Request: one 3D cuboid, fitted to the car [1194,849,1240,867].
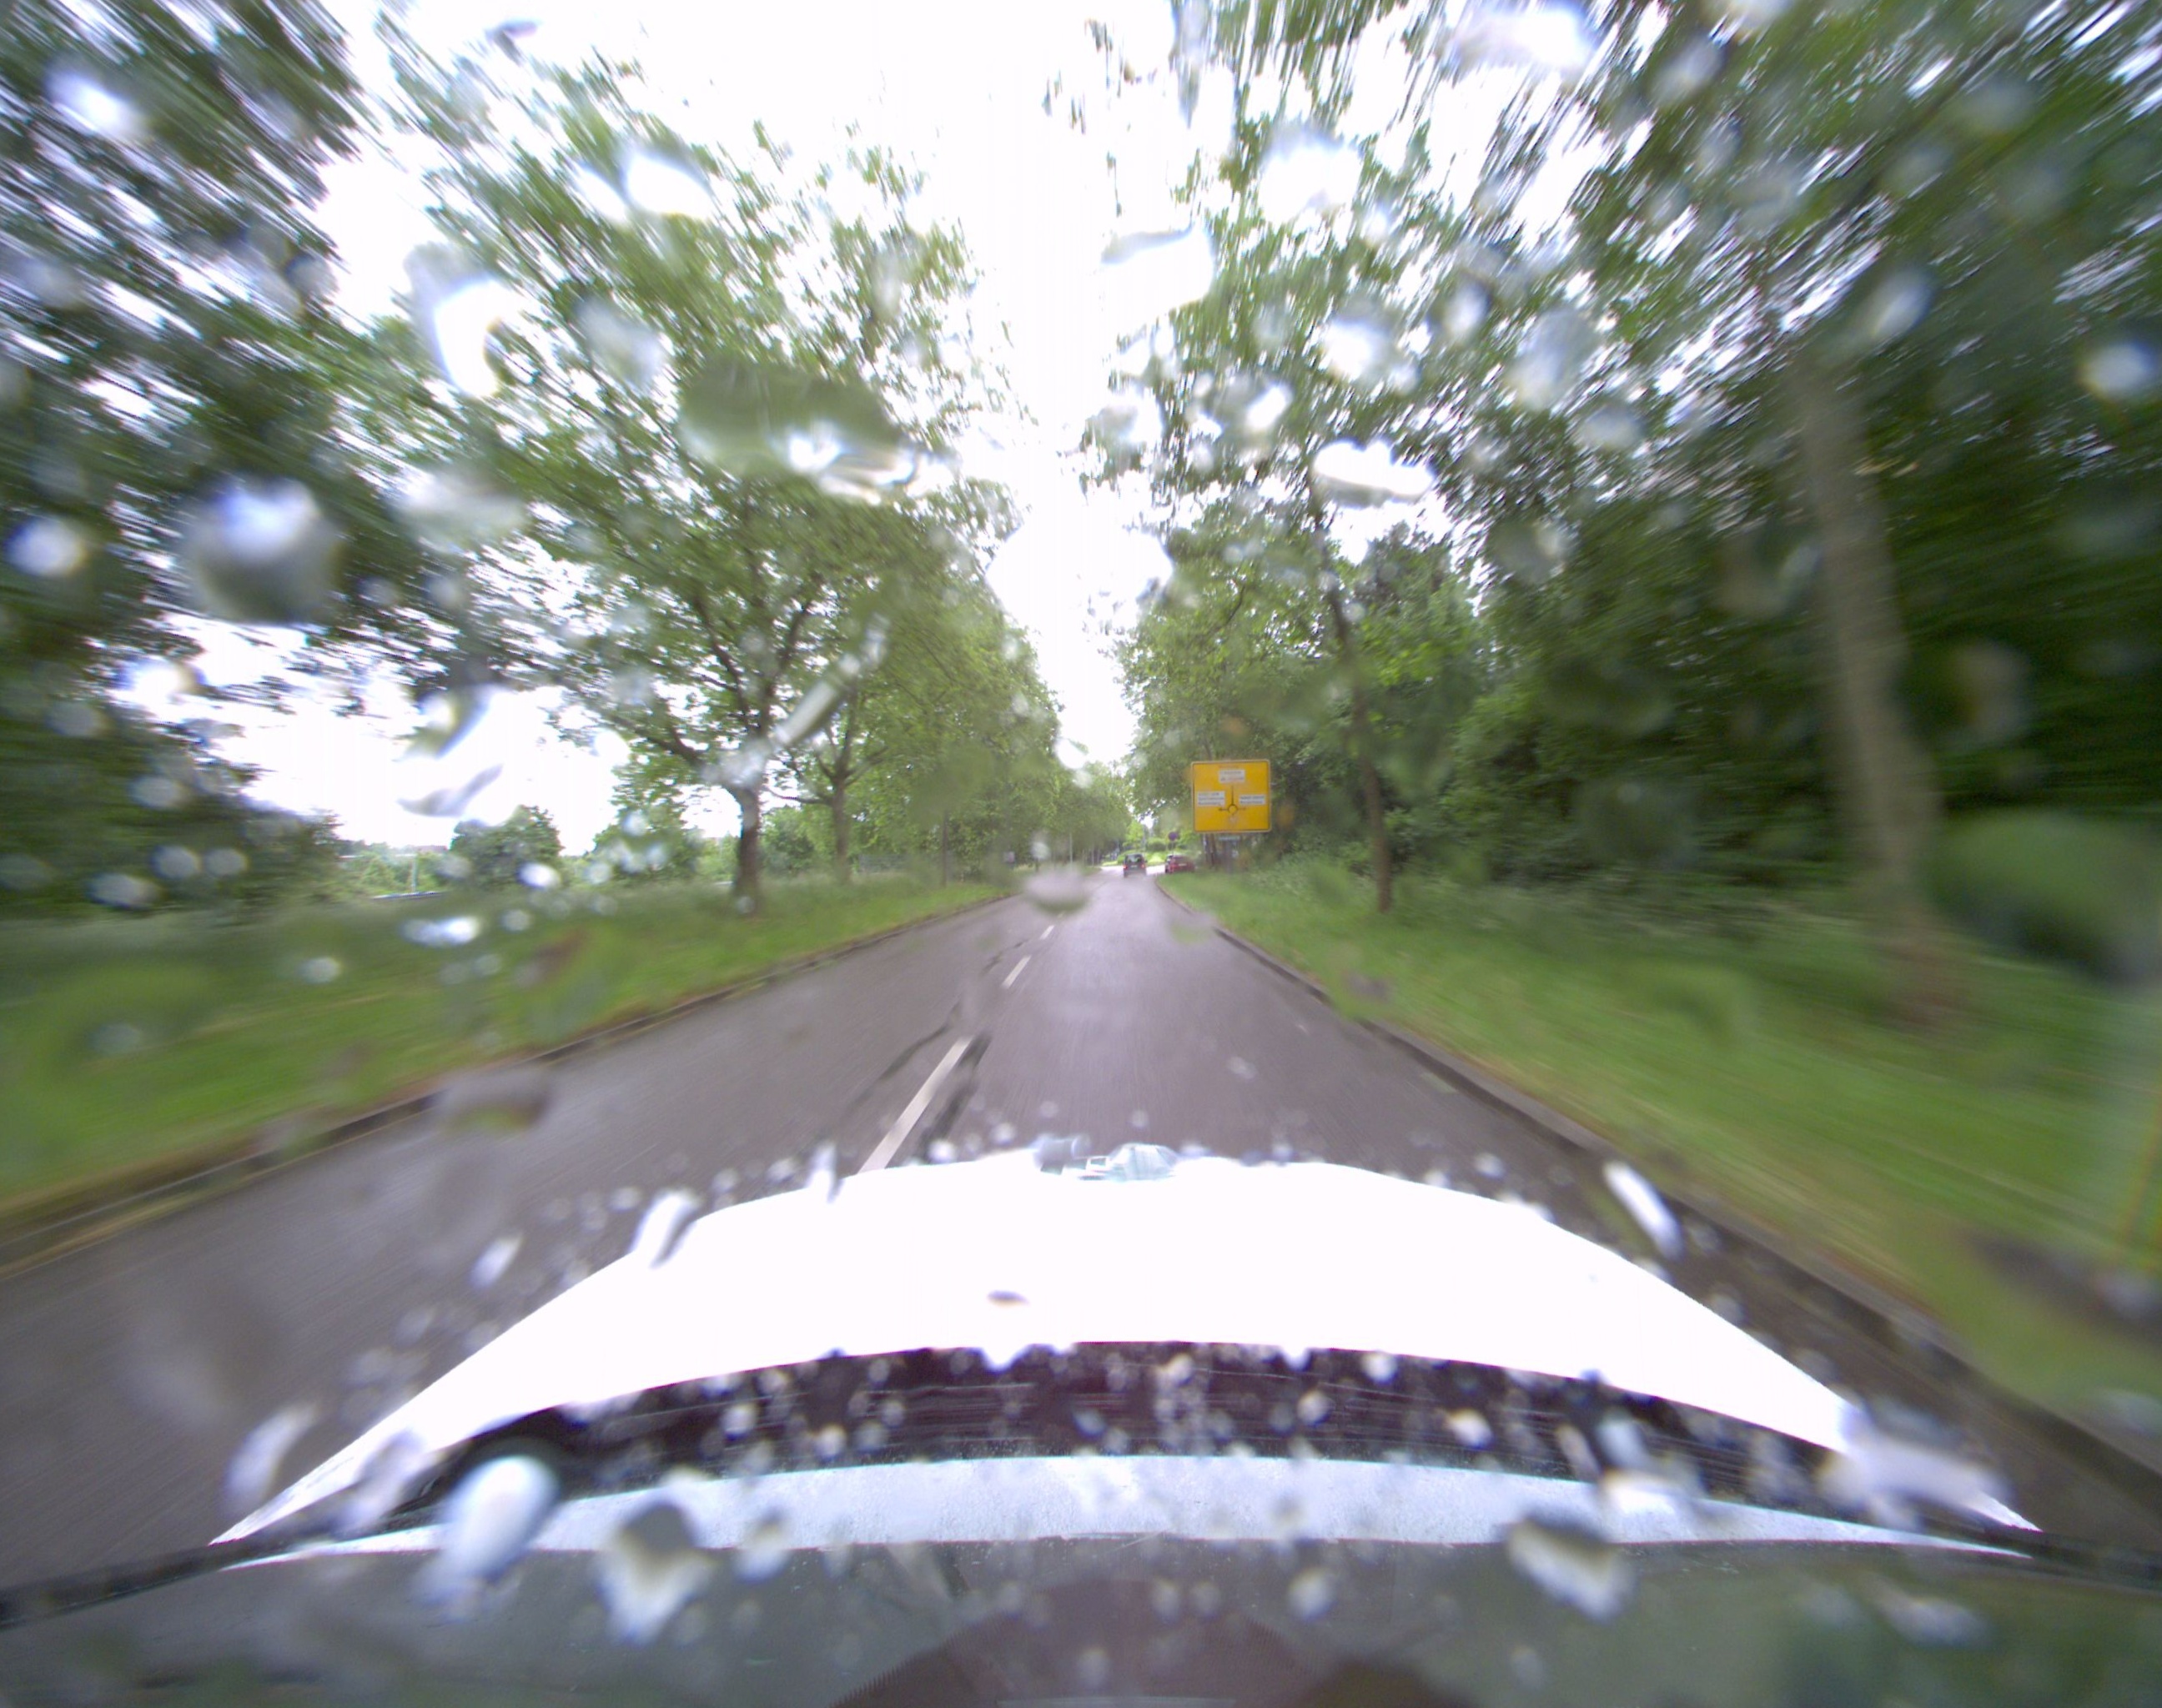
[{"bbox_3d":[13.512,0.391,81.071,4.446,1.680,1.771,-2,0,7],"label":"car"}]

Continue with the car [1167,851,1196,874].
[{"bbox_3d":[6.754,0.563,55.234,1.788,1.372,3.750,-3,-1,6],"label":"car"}]

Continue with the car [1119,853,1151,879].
[{"bbox_3d":[4.339,0.938,65.099,1.906,1.801,3.801,-6,0,10],"label":"car"}]

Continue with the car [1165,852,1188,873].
[{"bbox_3d":[7.764,0.685,66.640,1.719,1.591,4.259,-4,-1,6],"label":"car"}]
